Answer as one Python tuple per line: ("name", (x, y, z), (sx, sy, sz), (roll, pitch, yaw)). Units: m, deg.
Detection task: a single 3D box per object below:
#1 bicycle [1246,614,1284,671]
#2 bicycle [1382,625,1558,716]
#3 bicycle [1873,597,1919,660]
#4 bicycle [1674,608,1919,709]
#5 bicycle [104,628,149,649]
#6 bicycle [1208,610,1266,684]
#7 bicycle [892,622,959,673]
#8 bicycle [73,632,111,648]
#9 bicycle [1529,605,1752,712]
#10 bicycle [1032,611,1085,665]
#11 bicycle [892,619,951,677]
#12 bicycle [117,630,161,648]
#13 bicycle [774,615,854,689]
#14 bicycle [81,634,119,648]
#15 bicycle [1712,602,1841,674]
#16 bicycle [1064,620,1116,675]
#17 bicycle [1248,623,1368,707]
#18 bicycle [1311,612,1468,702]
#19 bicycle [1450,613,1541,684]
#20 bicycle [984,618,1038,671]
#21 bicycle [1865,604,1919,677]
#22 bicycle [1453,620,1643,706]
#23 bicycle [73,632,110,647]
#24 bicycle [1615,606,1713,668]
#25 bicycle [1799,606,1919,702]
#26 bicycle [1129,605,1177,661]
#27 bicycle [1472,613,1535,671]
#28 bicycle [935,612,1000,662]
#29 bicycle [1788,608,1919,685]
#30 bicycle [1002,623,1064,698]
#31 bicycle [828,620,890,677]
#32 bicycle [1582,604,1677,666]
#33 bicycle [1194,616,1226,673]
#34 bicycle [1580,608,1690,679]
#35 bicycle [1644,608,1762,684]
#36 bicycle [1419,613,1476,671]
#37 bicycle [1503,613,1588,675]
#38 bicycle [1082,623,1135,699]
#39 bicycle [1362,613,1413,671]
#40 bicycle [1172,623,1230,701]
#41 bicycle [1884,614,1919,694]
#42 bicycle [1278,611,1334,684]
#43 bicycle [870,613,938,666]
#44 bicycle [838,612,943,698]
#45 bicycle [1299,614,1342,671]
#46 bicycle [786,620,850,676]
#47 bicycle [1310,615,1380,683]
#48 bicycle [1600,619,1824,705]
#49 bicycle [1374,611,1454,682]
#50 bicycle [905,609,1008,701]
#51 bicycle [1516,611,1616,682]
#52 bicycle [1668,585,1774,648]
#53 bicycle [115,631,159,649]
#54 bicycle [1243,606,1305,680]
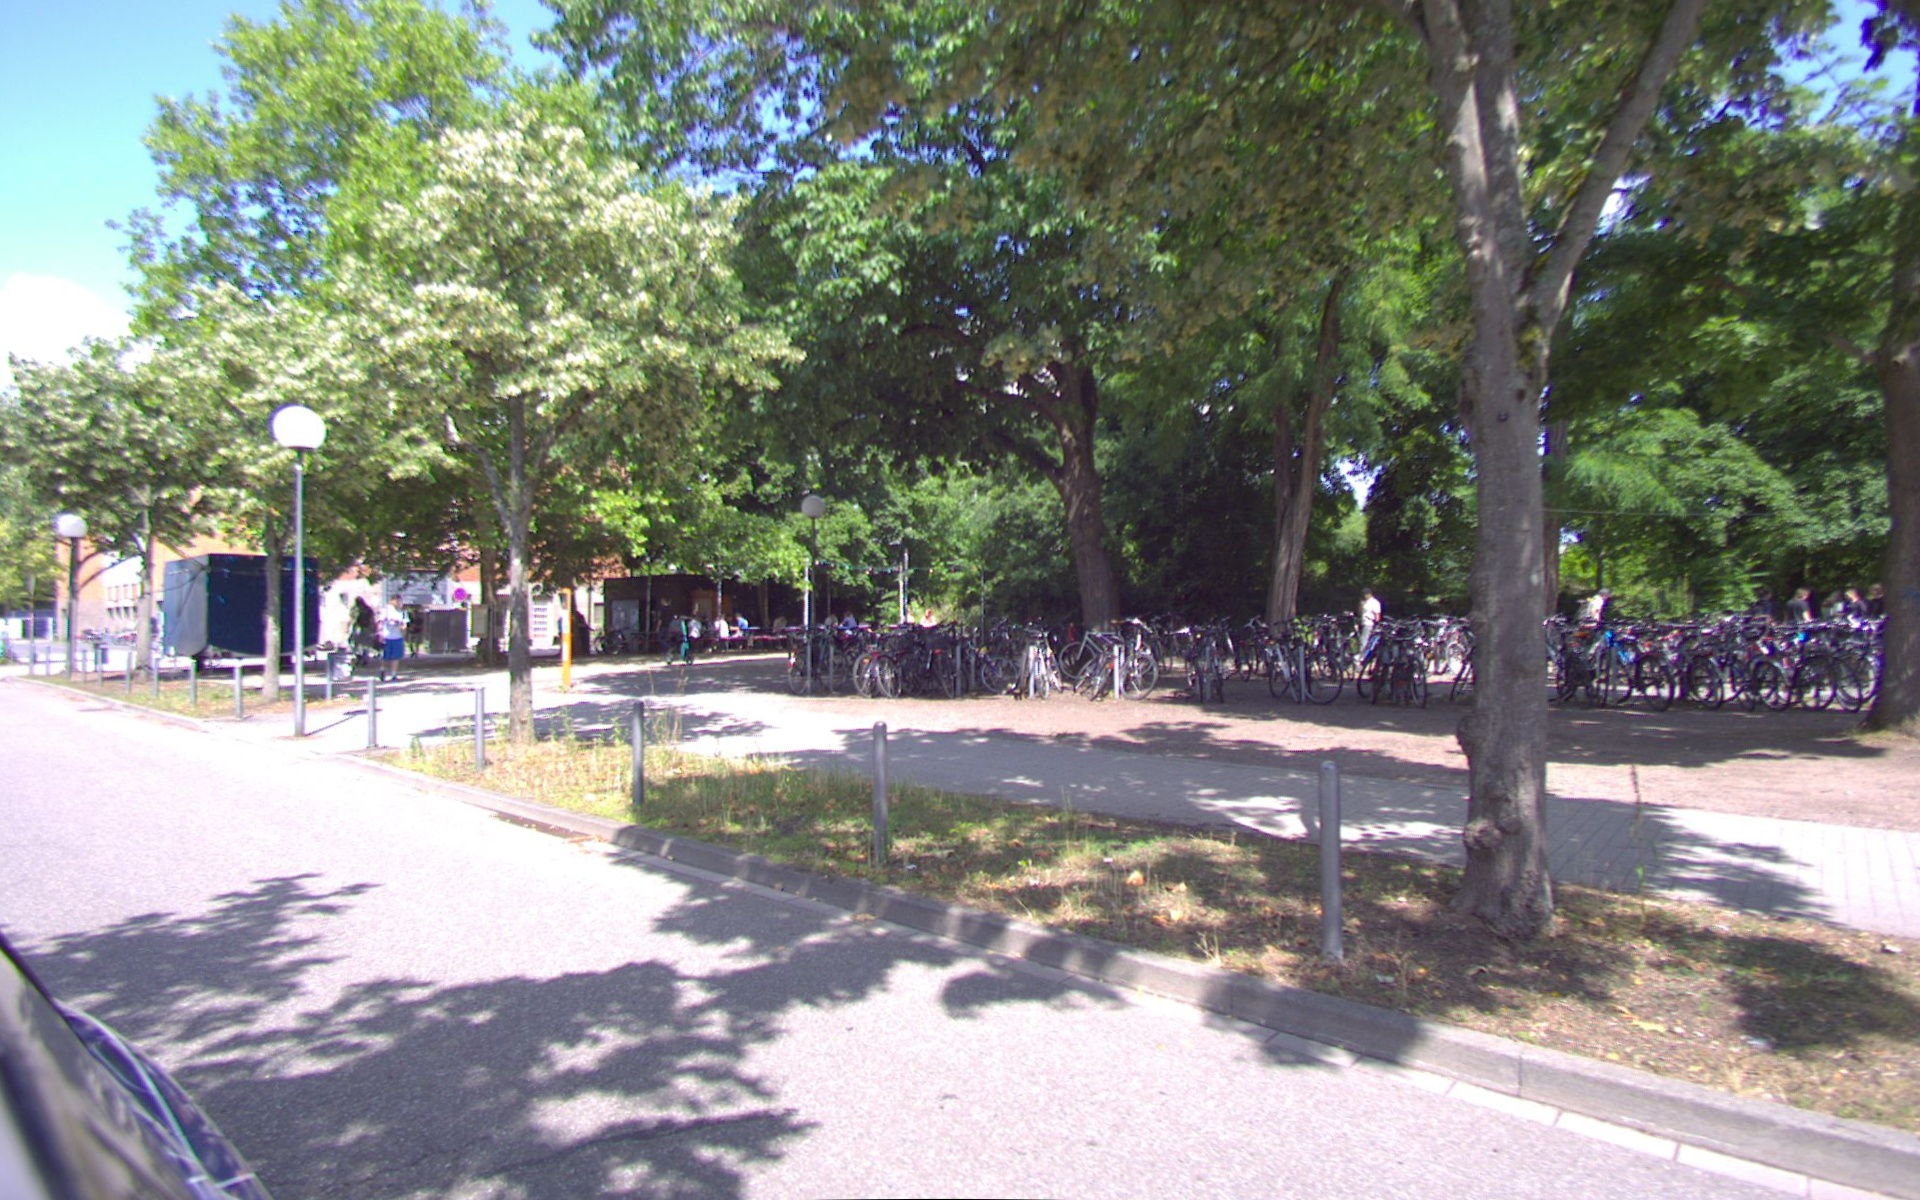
("bicycle", (6.223, 0.849, 20.701), (0.541, 1.097, 1.960), (-1, -1, 12))
("bicycle", (6.840, 0.899, 13.817), (0.870, 1.058, 2.834), (-1, -1, -2))
("bicycle", (18.226, 0.544, 18.896), (0.632, 1.141, 2.057), (-2, 2, 6))
("bicycle", (11.025, 0.716, 13.484), (0.870, 1.187, 2.884), (-1, -1, -2))
("bicycle", (-49.418, 2.271, 60.016), (0.439, 1.134, 1.999), (-2, 0, 45))
("bicycle", (5.008, 0.820, 18.428), (0.632, 1.244, 2.057), (-2, -1, 6))
("bicycle", (-0.746, 1.042, 22.557), (0.535, 1.035, 1.947), (-2, -1, 30))
("bicycle", (-60.720, 2.787, 70.785), (0.530, 1.038, 1.931), (-2, -2, 40))
("bicycle", (8.773, 0.699, 13.289), (0.870, 1.229, 2.909), (-1, -1, -2))
("bicycle", (2.149, 0.805, 21.922), (0.544, 1.097, 1.951), (-1, -1, 24))
("bicycle", (-0.764, 0.946, 20.620), (0.543, 1.097, 1.849), (-1, -1, 20))
("bicycle", (-49.782, 2.361, 61.395), (0.621, 1.090, 1.989), (-2, -2, 40))
("bicycle", (-2.384, 0.826, 16.701), (0.456, 1.140, 1.765), (-1, -1, 23))
("bicycle", (-59.396, 2.836, 69.897), (0.568, 0.948, 1.931), (-2, -2, 40))
("bicycle", (13.832, 0.628, 17.229), (0.632, 1.141, 2.057), (-2, -1, 6))
("bicycle", (2.811, 0.994, 21.748), (0.544, 1.097, 1.951), (-1, -1, 24))
("bicycle", (4.771, 0.854, 14.102), (0.668, 1.016, 2.652), (-1, -1, -2))
("bicycle", (5.751, 0.715, 13.803), (0.870, 1.094, 2.752), (-1, -1, -2))
("bicycle", (9.362, 0.821, 17.782), (0.632, 1.141, 2.057), (-2, -1, 6))
("bicycle", (1.159, 0.972, 22.453), (0.534, 1.097, 1.952), (-1, -1, 23))
("bicycle", (15.929, 0.680, 16.512), (0.632, 1.141, 2.057), (-1, 2, 6))
("bicycle", (7.864, 0.797, 13.757), (0.870, 1.022, 2.784), (-1, -1, -2))
("bicycle", (-62.278, 2.796, 72.598), (0.518, 1.038, 1.931), (-2, -2, 40))
("bicycle", (13.902, 0.707, 20.064), (0.632, 1.141, 2.057), (-2, -1, 6))
("bicycle", (12.367, 0.678, 12.980), (0.870, 1.188, 2.709), (-1, -1, -2))
("bicycle", (4.029, 0.656, 20.998), (0.544, 1.097, 1.951), (-1, -1, 24))
("bicycle", (10.818, 0.815, 20.207), (0.541, 1.097, 1.960), (-1, -1, 12))
("bicycle", (0.184, 0.789, 22.274), (0.535, 1.035, 1.947), (-2, -1, 30))
("bicycle", (14.877, 0.733, 16.840), (0.632, 1.141, 2.057), (-2, 1, 6))
("bicycle", (1.137, 0.884, 15.361), (0.671, 1.016, 2.146), (-1, -1, 11))
("bicycle", (-2.073, 0.980, 21.008), (0.543, 1.097, 1.849), (-1, -1, 20))
("bicycle", (13.112, 0.662, 19.894), (0.632, 1.141, 2.057), (-2, -1, 6))
("bicycle", (5.216, 0.902, 21.147), (0.541, 1.097, 1.960), (-1, -1, 12))
("bicycle", (11.592, 0.728, 17.469), (0.632, 1.141, 2.057), (-2, -1, 6))
("bicycle", (12.628, 0.750, 17.281), (0.632, 1.141, 2.057), (-2, 2, 6))
("bicycle", (9.774, 0.825, 20.349), (0.541, 1.097, 1.960), (-1, -1, 12))
("bicycle", (11.584, 0.840, 20.105), (0.632, 1.141, 2.057), (-2, -1, 6))
("bicycle", (2.207, 0.864, 14.890), (0.671, 1.016, 1.885), (-1, -1, 11))
("bicycle", (8.582, 0.822, 20.384), (0.541, 1.097, 1.960), (-1, -1, 12))
("bicycle", (3.461, 0.855, 14.689), (0.670, 1.016, 2.147), (-1, -1, 10))
("bicycle", (13.613, 0.725, 13.039), (0.870, 1.084, 2.684), (-1, -1, -2))
("bicycle", (6.252, 0.828, 18.364), (0.473, 1.141, 2.057), (-2, 2, 6))
("bicycle", (-1.244, 0.881, 22.970), (0.535, 1.134, 1.947), (-2, -1, 30))
("bicycle", (-1.053, 0.825, 15.977), (0.804, 1.244, 2.044), (-1, 0, 23))
("bicycle", (7.395, 0.841, 20.832), (0.541, 1.097, 1.960), (-1, -1, 12))
("bicycle", (-2.992, 1.003, 21.546), (0.543, 1.097, 1.849), (-1, -1, 20))
("bicycle", (6.947, 0.852, 18.371), (0.632, 1.141, 2.057), (-2, -1, 6))
("bicycle", (9.938, 0.772, 13.582), (0.870, 1.010, 2.734), (-1, -1, -2))
("bicycle", (8.029, 0.789, 18.005), (0.632, 1.167, 2.057), (-2, -1, 6))
("bicycle", (-0.012, 0.801, 15.486), (0.804, 1.244, 2.044), (-1, 1, 23))
("bicycle", (10.487, 0.777, 17.603), (0.632, 1.141, 2.057), (-2, -1, 6))
("bicycle", (14.772, 0.313, 19.729), (0.632, 1.141, 2.057), (-2, -1, 6))
("bicycle", (-51.055, 2.460, 62.803), (0.663, 1.069, 2.001), (-2, -2, 40))
("bicycle", (5.671, 0.742, 18.376), (0.632, 1.244, 2.057), (-2, 0, 6))
